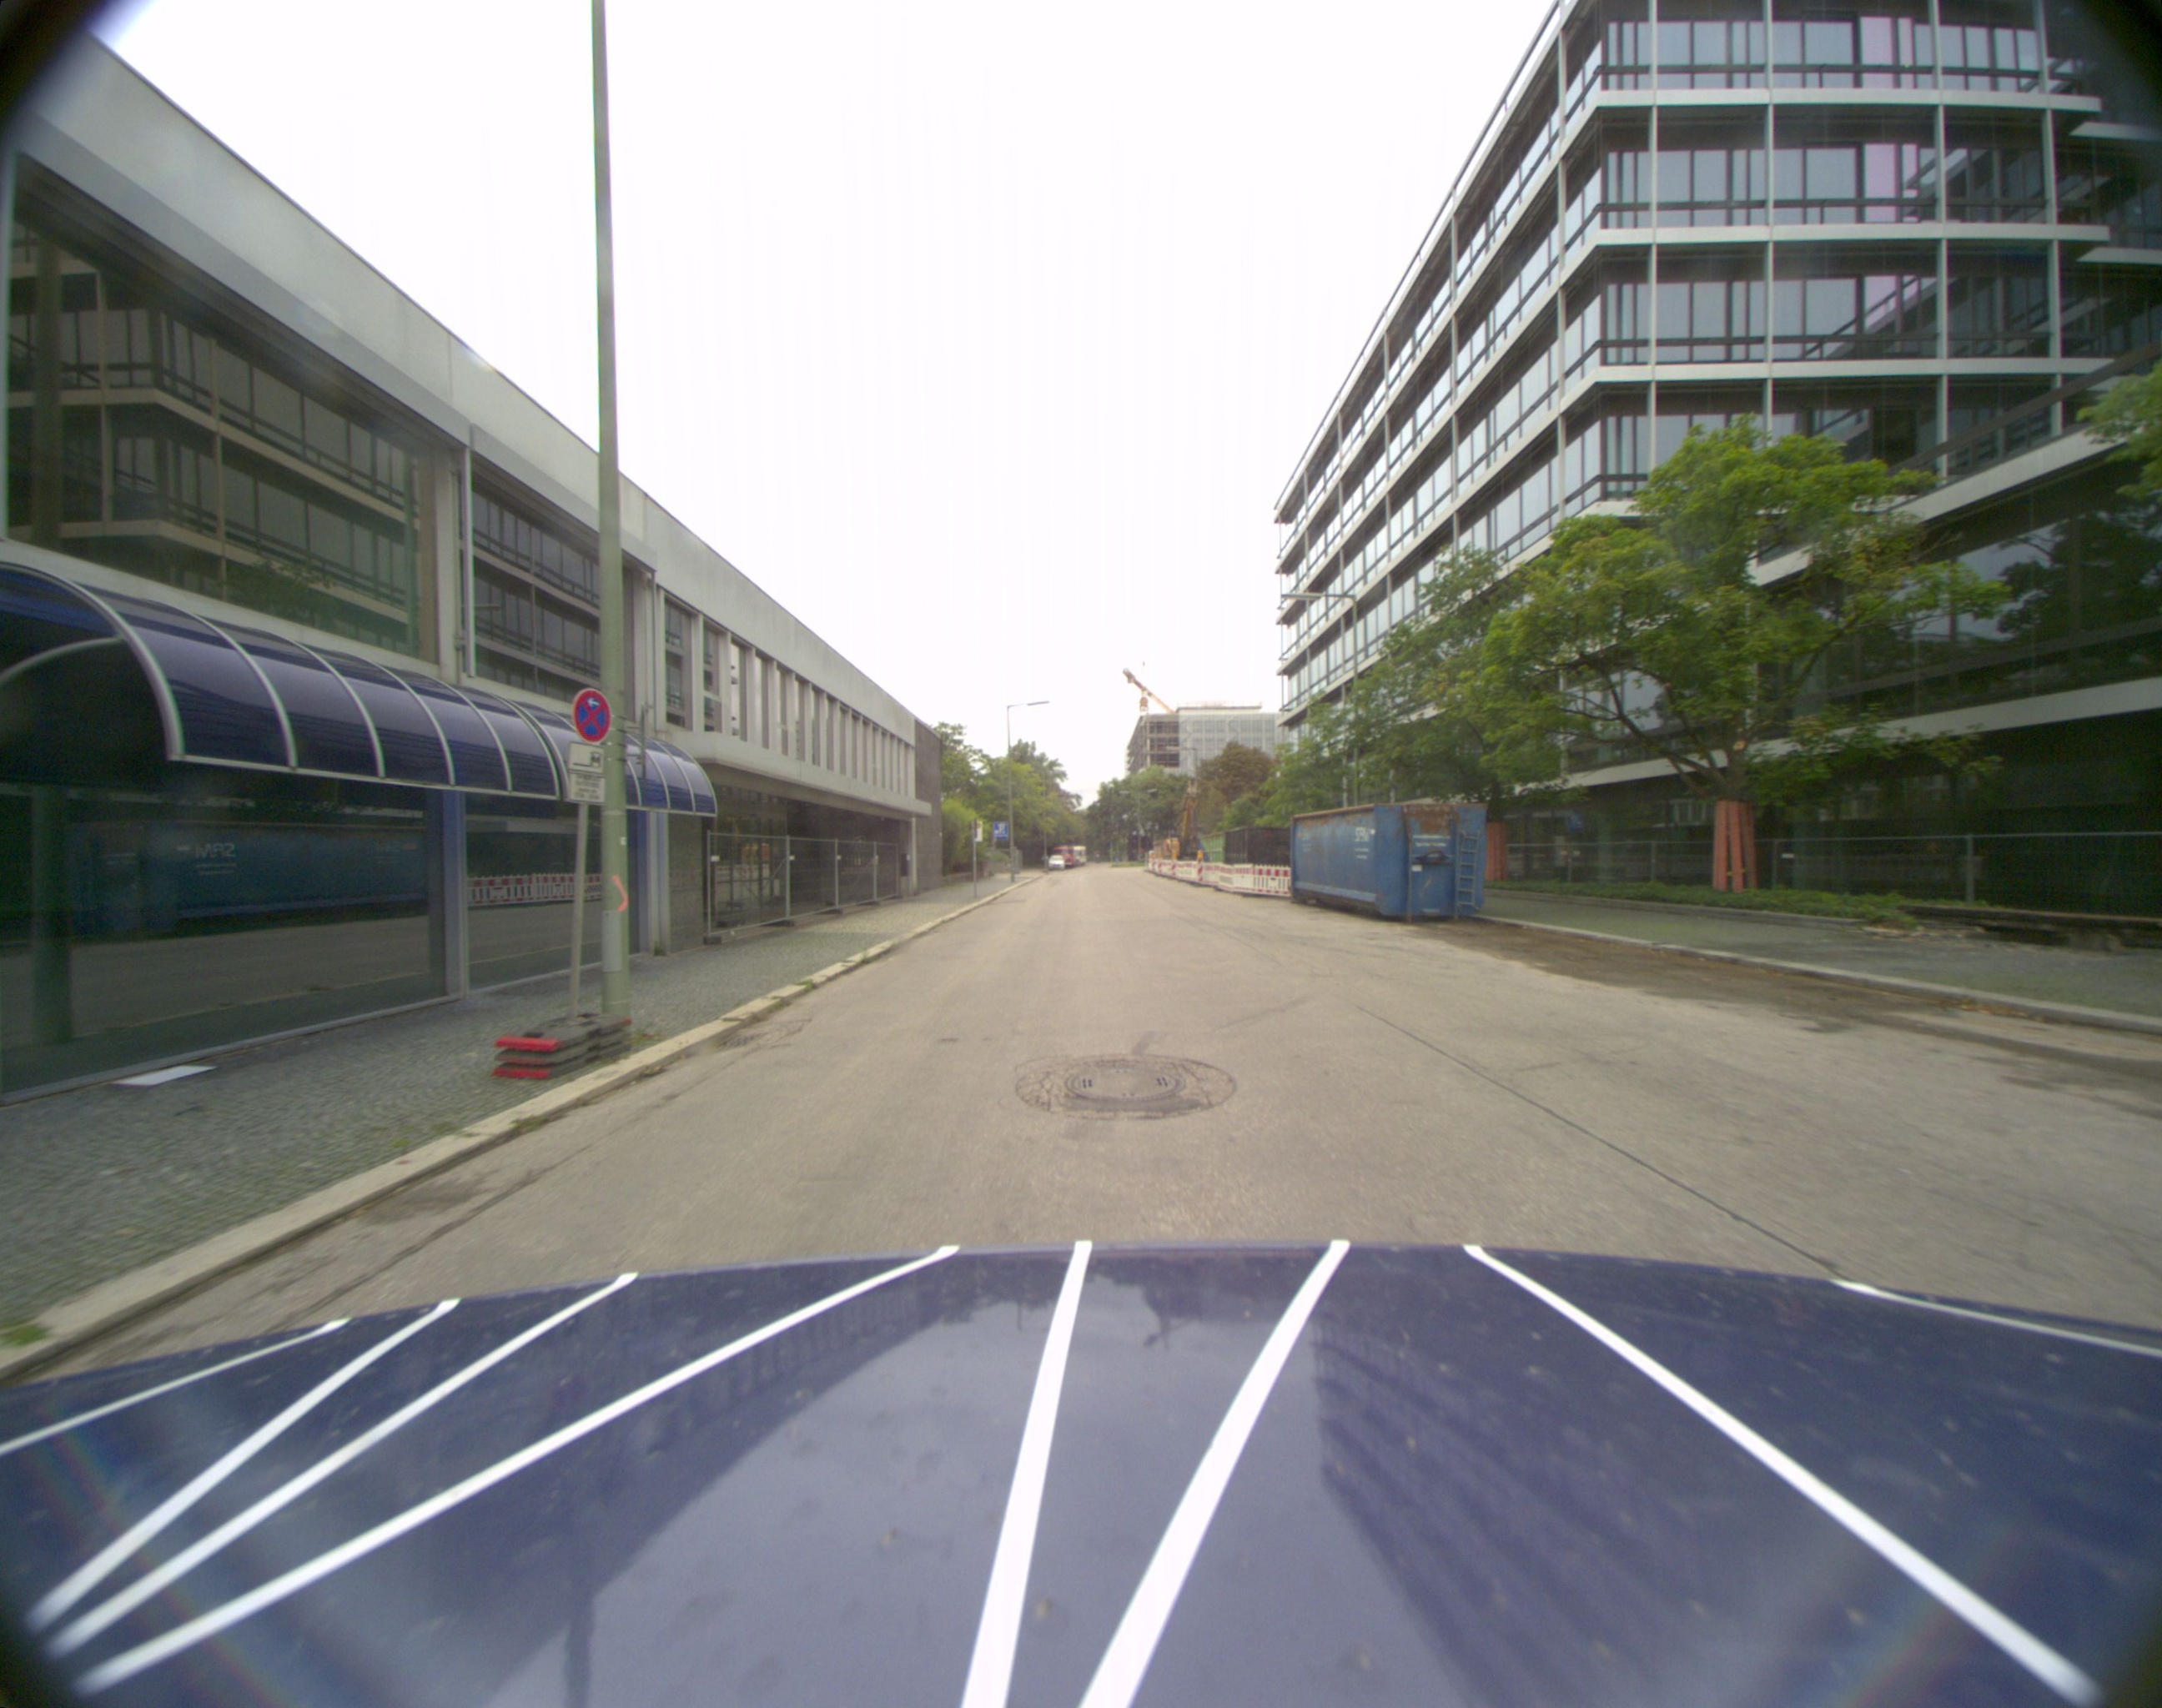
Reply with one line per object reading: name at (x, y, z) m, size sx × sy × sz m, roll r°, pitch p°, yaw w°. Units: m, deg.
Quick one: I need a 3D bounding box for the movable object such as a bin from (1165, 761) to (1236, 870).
movable object such as a bin at (7.826, -2.386, 51.447) m, size 2.911 × 6.527 × 11.781 m, roll -1°, pitch 1°, yaw 0°

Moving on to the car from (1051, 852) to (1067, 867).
car at (-2.297, 0.562, 79.102) m, size 1.536 × 1.483 × 4.059 m, roll -1°, pitch 1°, yaw -2°

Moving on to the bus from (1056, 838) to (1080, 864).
bus at (-1.429, -0.330, 85.938) m, size 2.077 × 2.789 × 6.274 m, roll -1°, pitch 1°, yaw 5°

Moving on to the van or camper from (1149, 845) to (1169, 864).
van or camper at (8.422, 0.054, 82.558) m, size 1.993 × 2.022 × 5.588 m, roll 1°, pitch 0°, yaw 4°

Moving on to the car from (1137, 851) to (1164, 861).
car at (11.341, 0.341, 124.166) m, size 3.891 × 1.564 × 1.786 m, roll -1°, pitch 2°, yaw -22°

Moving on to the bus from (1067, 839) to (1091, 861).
bus at (-0.210, -0.519, 99.835) m, size 2.076 × 2.714 × 5.870 m, roll 0°, pitch 1°, yaw 10°
